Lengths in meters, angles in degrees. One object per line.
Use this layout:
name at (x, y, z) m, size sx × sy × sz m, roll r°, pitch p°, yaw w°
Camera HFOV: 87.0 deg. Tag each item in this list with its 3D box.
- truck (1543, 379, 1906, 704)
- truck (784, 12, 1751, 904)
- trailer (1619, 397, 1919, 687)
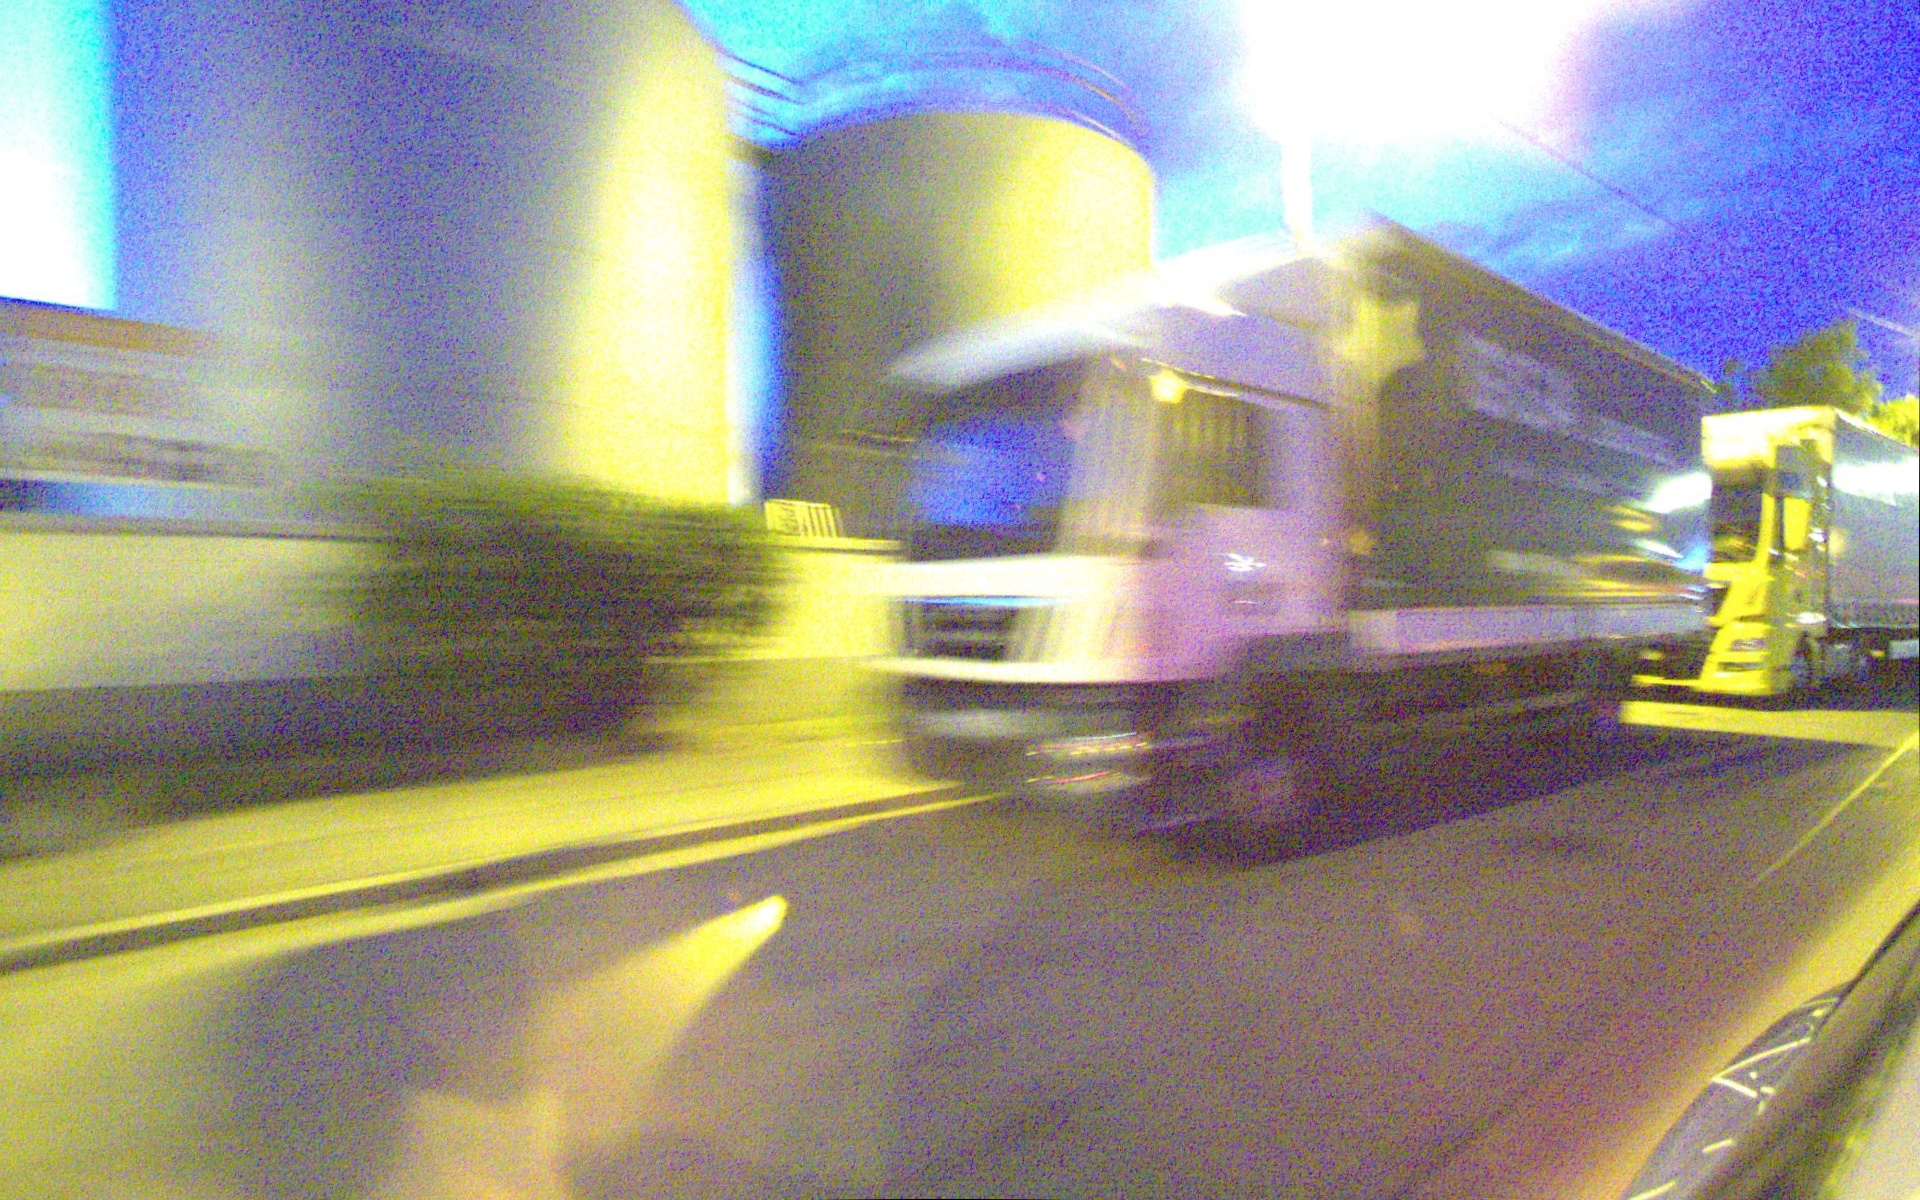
truck at (11.798, -0.794, 15.480) m, size 5.937 × 4.033 × 2.839 m, roll -1°, pitch 1°, yaw -36°
truck at (3.671, -0.752, 8.860) m, size 10.155 × 4.033 × 2.837 m, roll -1°, pitch 1°, yaw -38°
trailer at (16.998, -0.848, 19.250) m, size 13.712 × 4.033 × 2.817 m, roll 0°, pitch 1°, yaw -36°
